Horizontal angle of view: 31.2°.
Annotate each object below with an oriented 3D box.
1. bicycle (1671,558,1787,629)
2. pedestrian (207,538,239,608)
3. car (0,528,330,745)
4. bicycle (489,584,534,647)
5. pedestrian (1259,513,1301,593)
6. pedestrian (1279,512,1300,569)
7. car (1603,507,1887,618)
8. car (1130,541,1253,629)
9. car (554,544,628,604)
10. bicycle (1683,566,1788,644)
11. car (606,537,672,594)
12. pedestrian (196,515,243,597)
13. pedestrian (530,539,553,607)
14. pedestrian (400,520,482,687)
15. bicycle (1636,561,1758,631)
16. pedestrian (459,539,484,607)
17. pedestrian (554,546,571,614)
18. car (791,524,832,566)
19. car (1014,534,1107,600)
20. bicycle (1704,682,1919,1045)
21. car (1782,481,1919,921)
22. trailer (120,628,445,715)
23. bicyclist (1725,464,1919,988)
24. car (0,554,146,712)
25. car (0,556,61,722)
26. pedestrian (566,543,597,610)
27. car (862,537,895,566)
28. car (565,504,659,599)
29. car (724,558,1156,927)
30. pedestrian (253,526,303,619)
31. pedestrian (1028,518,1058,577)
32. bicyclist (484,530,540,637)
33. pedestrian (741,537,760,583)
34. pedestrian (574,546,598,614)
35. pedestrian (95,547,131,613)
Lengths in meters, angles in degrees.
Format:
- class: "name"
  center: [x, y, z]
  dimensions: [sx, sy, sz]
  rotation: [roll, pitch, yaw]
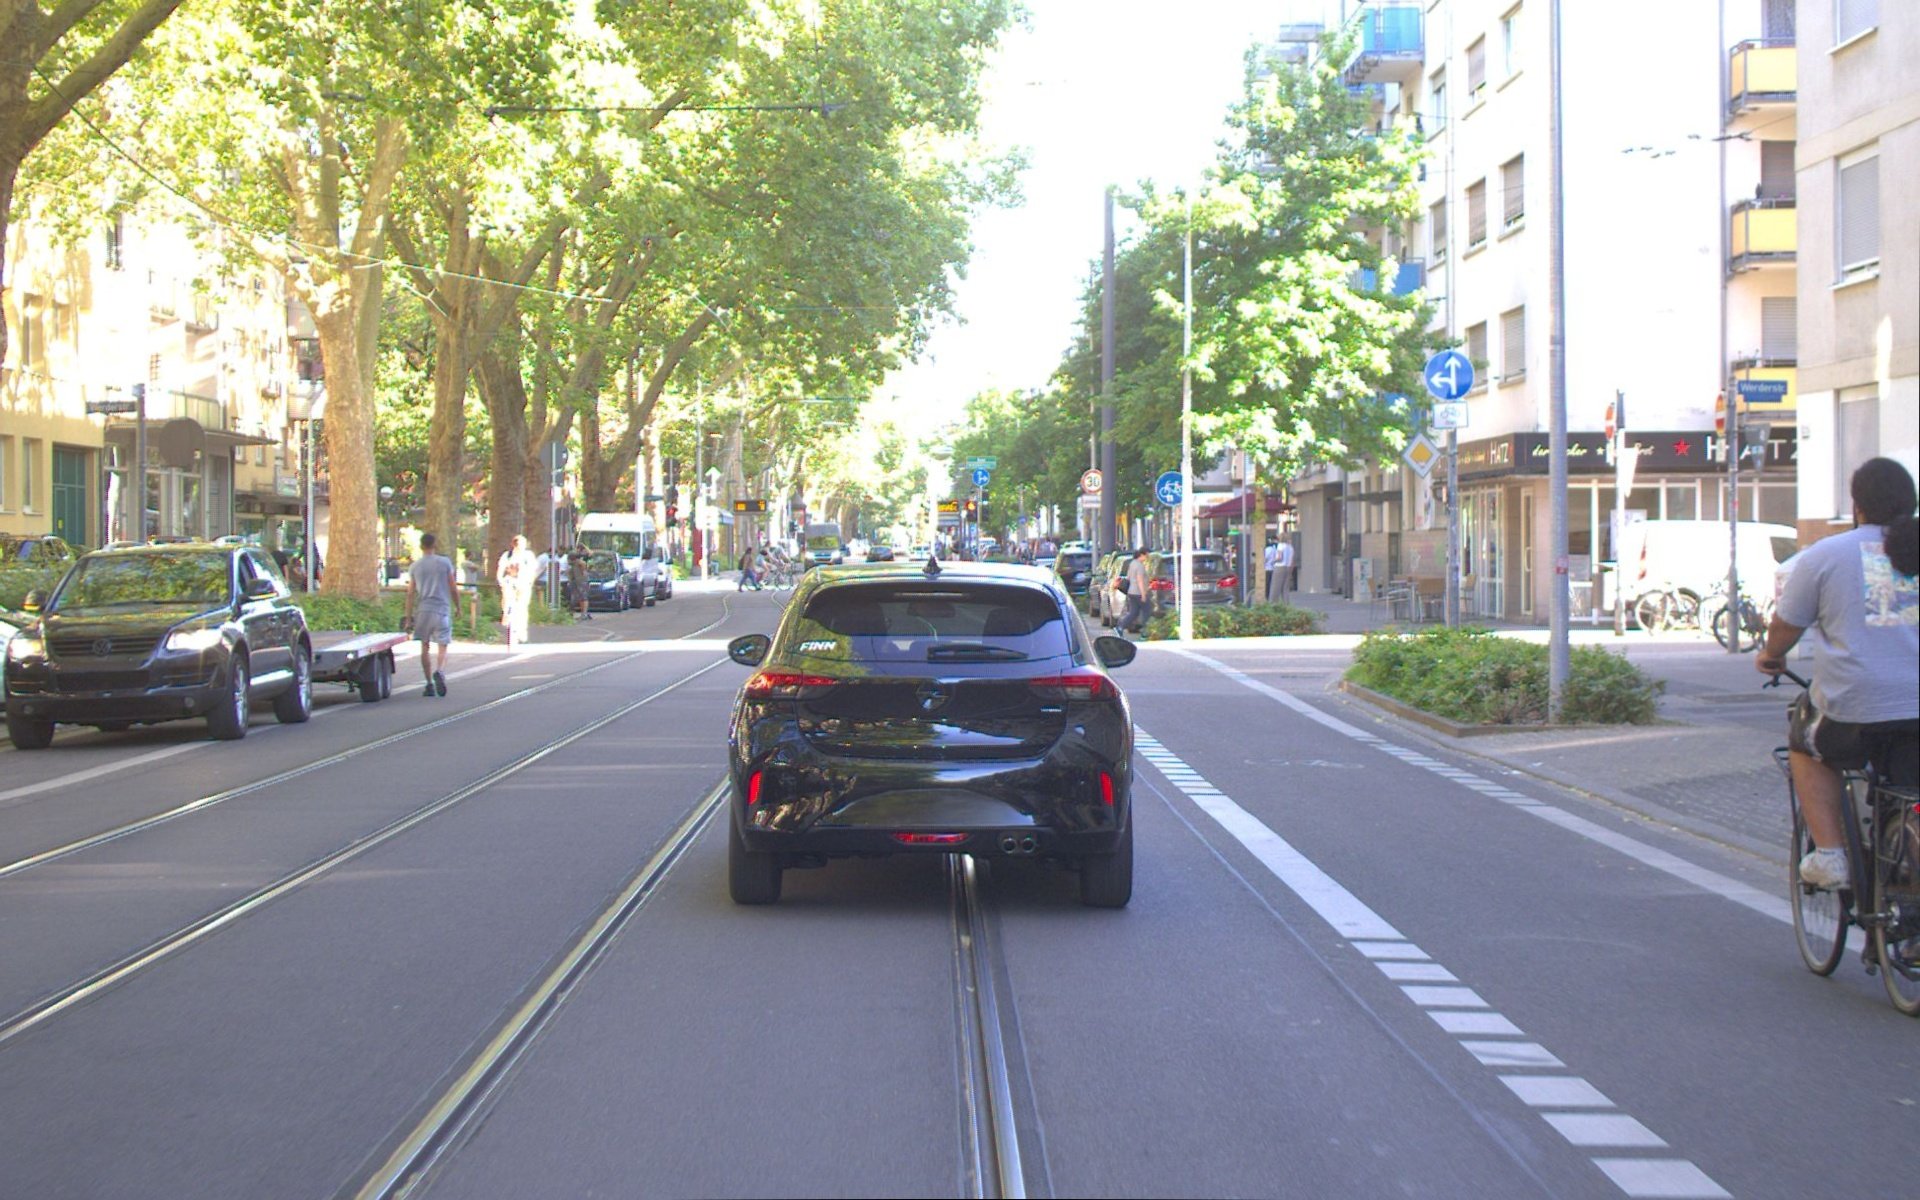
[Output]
- class: "bicycle"
  center: [12.234, -0.105, 54.688]
  dimensions: [1.773, 1.113, 0.613]
  rotation: [0, 1, 14]
- class: "pedestrian"
  center: [-17.295, -0.636, 80.690]
  dimensions: [0.552, 1.646, 0.649]
  rotation: [-1, 1, 3]
- class: "car"
  center: [-6.931, 0.257, 30.107]
  dimensions: [1.993, 1.694, 4.485]
  rotation: [-2, 1, 0]
- class: "bicycle"
  center: [-7.094, 0.236, 54.465]
  dimensions: [0.520, 0.959, 1.929]
  rotation: [-1, 1, -2]
- class: "pedestrian"
  center: [6.964, -1.024, 74.765]
  dimensions: [0.768, 1.742, 0.795]
  rotation: [-1, 1, -5]
- class: "pedestrian"
  center: [10.052, -1.806, 104.896]
  dimensions: [0.629, 1.727, 0.632]
  rotation: [0, 1, 6]
- class: "car"
  center: [13.428, -0.649, 58.950]
  dimensions: [4.358, 1.824, 2.000]
  rotation: [-1, 1, -4]
- class: "car"
  center: [4.293, -0.303, 64.313]
  dimensions: [1.718, 1.568, 4.085]
  rotation: [-1, 1, -4]
- class: "car"
  center: [-9.659, -0.703, 90.227]
  dimensions: [1.754, 1.503, 4.001]
  rotation: [-1, 1, -4]
- class: "bicycle"
  center: [10.588, 0.063, 47.012]
  dimensions: [0.802, 1.012, 1.969]
  rotation: [-1, 1, -6]
- class: "car"
  center: [-10.041, -1.090, 107.193]
  dimensions: [1.993, 1.711, 4.001]
  rotation: [-1, 1, -6]
- class: "pedestrian"
  center: [-14.856, -0.885, 68.981]
  dimensions: [0.846, 1.627, 0.644]
  rotation: [-1, 1, -6]
- class: "pedestrian"
  center: [-9.812, -0.629, 80.608]
  dimensions: [0.506, 1.577, 0.527]
  rotation: [0, 1, -4]
- class: "pedestrian"
  center: [-5.543, 0.026, 36.716]
  dimensions: [0.711, 1.729, 0.913]
  rotation: [-2, 1, -14]
- class: "bicycle"
  center: [11.938, -0.069, 55.701]
  dimensions: [1.836, 1.113, 0.703]
  rotation: [-1, 1, 3]
- class: "pedestrian"
  center: [-11.504, -0.640, 80.940]
  dimensions: [0.506, 1.577, 0.527]
  rotation: [-1, 1, -16]
- class: "pedestrian"
  center: [-9.329, -0.472, 80.698]
  dimensions: [0.346, 1.577, 0.508]
  rotation: [0, 1, -2]
- class: "car"
  center: [-8.054, -2.995, 185.808]
  dimensions: [1.993, 2.204, 5.103]
  rotation: [-1, 1, -5]
- class: "car"
  center: [2.575, -0.867, 88.715]
  dimensions: [1.993, 1.634, 4.001]
  rotation: [0, 1, -4]
- class: "bicycle"
  center: [3.183, 0.869, 11.951]
  dimensions: [0.701, 1.088, 1.990]
  rotation: [1, 0, -1]
- class: "car"
  center: [5.041, 0.424, 14.902]
  dimensions: [1.858, 1.883, 4.924]
  rotation: [0, 1, 1]
- class: "trailer"
  center: [-6.856, 0.697, 35.565]
  dimensions: [2.160, 0.629, 6.400]
  rotation: [0, 1, -1]
- class: "bicyclist"
  center: [3.166, 0.415, 11.973]
  dimensions: [0.786, 1.753, 0.915]
  rotation: [0, 1, -1]
- class: "car"
  center: [-10.056, 0.317, 34.411]
  dimensions: [3.430, 1.525, 1.787]
  rotation: [-1, 1, -3]
- class: "car"
  center: [-10.710, 0.357, 32.448]
  dimensions: [3.986, 1.516, 1.771]
  rotation: [0, 1, -1]
- class: "pedestrian"
  center: [-8.962, -0.565, 81.347]
  dimensions: [0.683, 1.577, 0.557]
  rotation: [0, 1, -2]
- class: "car"
  center: [-4.695, -2.830, 198.892]
  dimensions: [1.750, 1.646, 4.000]
  rotation: [0, 1, 1]
- class: "car"
  center: [-9.748, -1.375, 96.710]
  dimensions: [2.092, 2.575, 5.997]
  rotation: [-1, 1, -1]
- class: "car"
  center: [-0.107, 0.542, 15.405]
  dimensions: [1.679, 1.417, 3.628]
  rotation: [1, 1, -1]
- class: "pedestrian"
  center: [-13.776, -0.568, 69.459]
  dimensions: [0.905, 1.862, 0.644]
  rotation: [-1, 1, -6]
- class: "pedestrian"
  center: [2.932, -1.849, 121.180]
  dimensions: [0.856, 2.007, 1.069]
  rotation: [-5, 0, 0]
- class: "bicyclist"
  center: [-7.085, -0.275, 54.435]
  dimensions: [0.784, 1.672, 0.957]
  rotation: [-1, 1, -3]
- class: "pedestrian"
  center: [-7.298, -1.404, 119.551]
  dimensions: [0.594, 1.584, 0.893]
  rotation: [-1, 1, -7]
- class: "pedestrian"
  center: [-8.785, -0.478, 80.721]
  dimensions: [0.506, 1.577, 0.527]
  rotation: [0, 1, -1]
- class: "pedestrian"
  center: [-18.140, -0.438, 73.640]
  dimensions: [0.552, 1.398, 0.649]
  rotation: [-1, 1, 3]
